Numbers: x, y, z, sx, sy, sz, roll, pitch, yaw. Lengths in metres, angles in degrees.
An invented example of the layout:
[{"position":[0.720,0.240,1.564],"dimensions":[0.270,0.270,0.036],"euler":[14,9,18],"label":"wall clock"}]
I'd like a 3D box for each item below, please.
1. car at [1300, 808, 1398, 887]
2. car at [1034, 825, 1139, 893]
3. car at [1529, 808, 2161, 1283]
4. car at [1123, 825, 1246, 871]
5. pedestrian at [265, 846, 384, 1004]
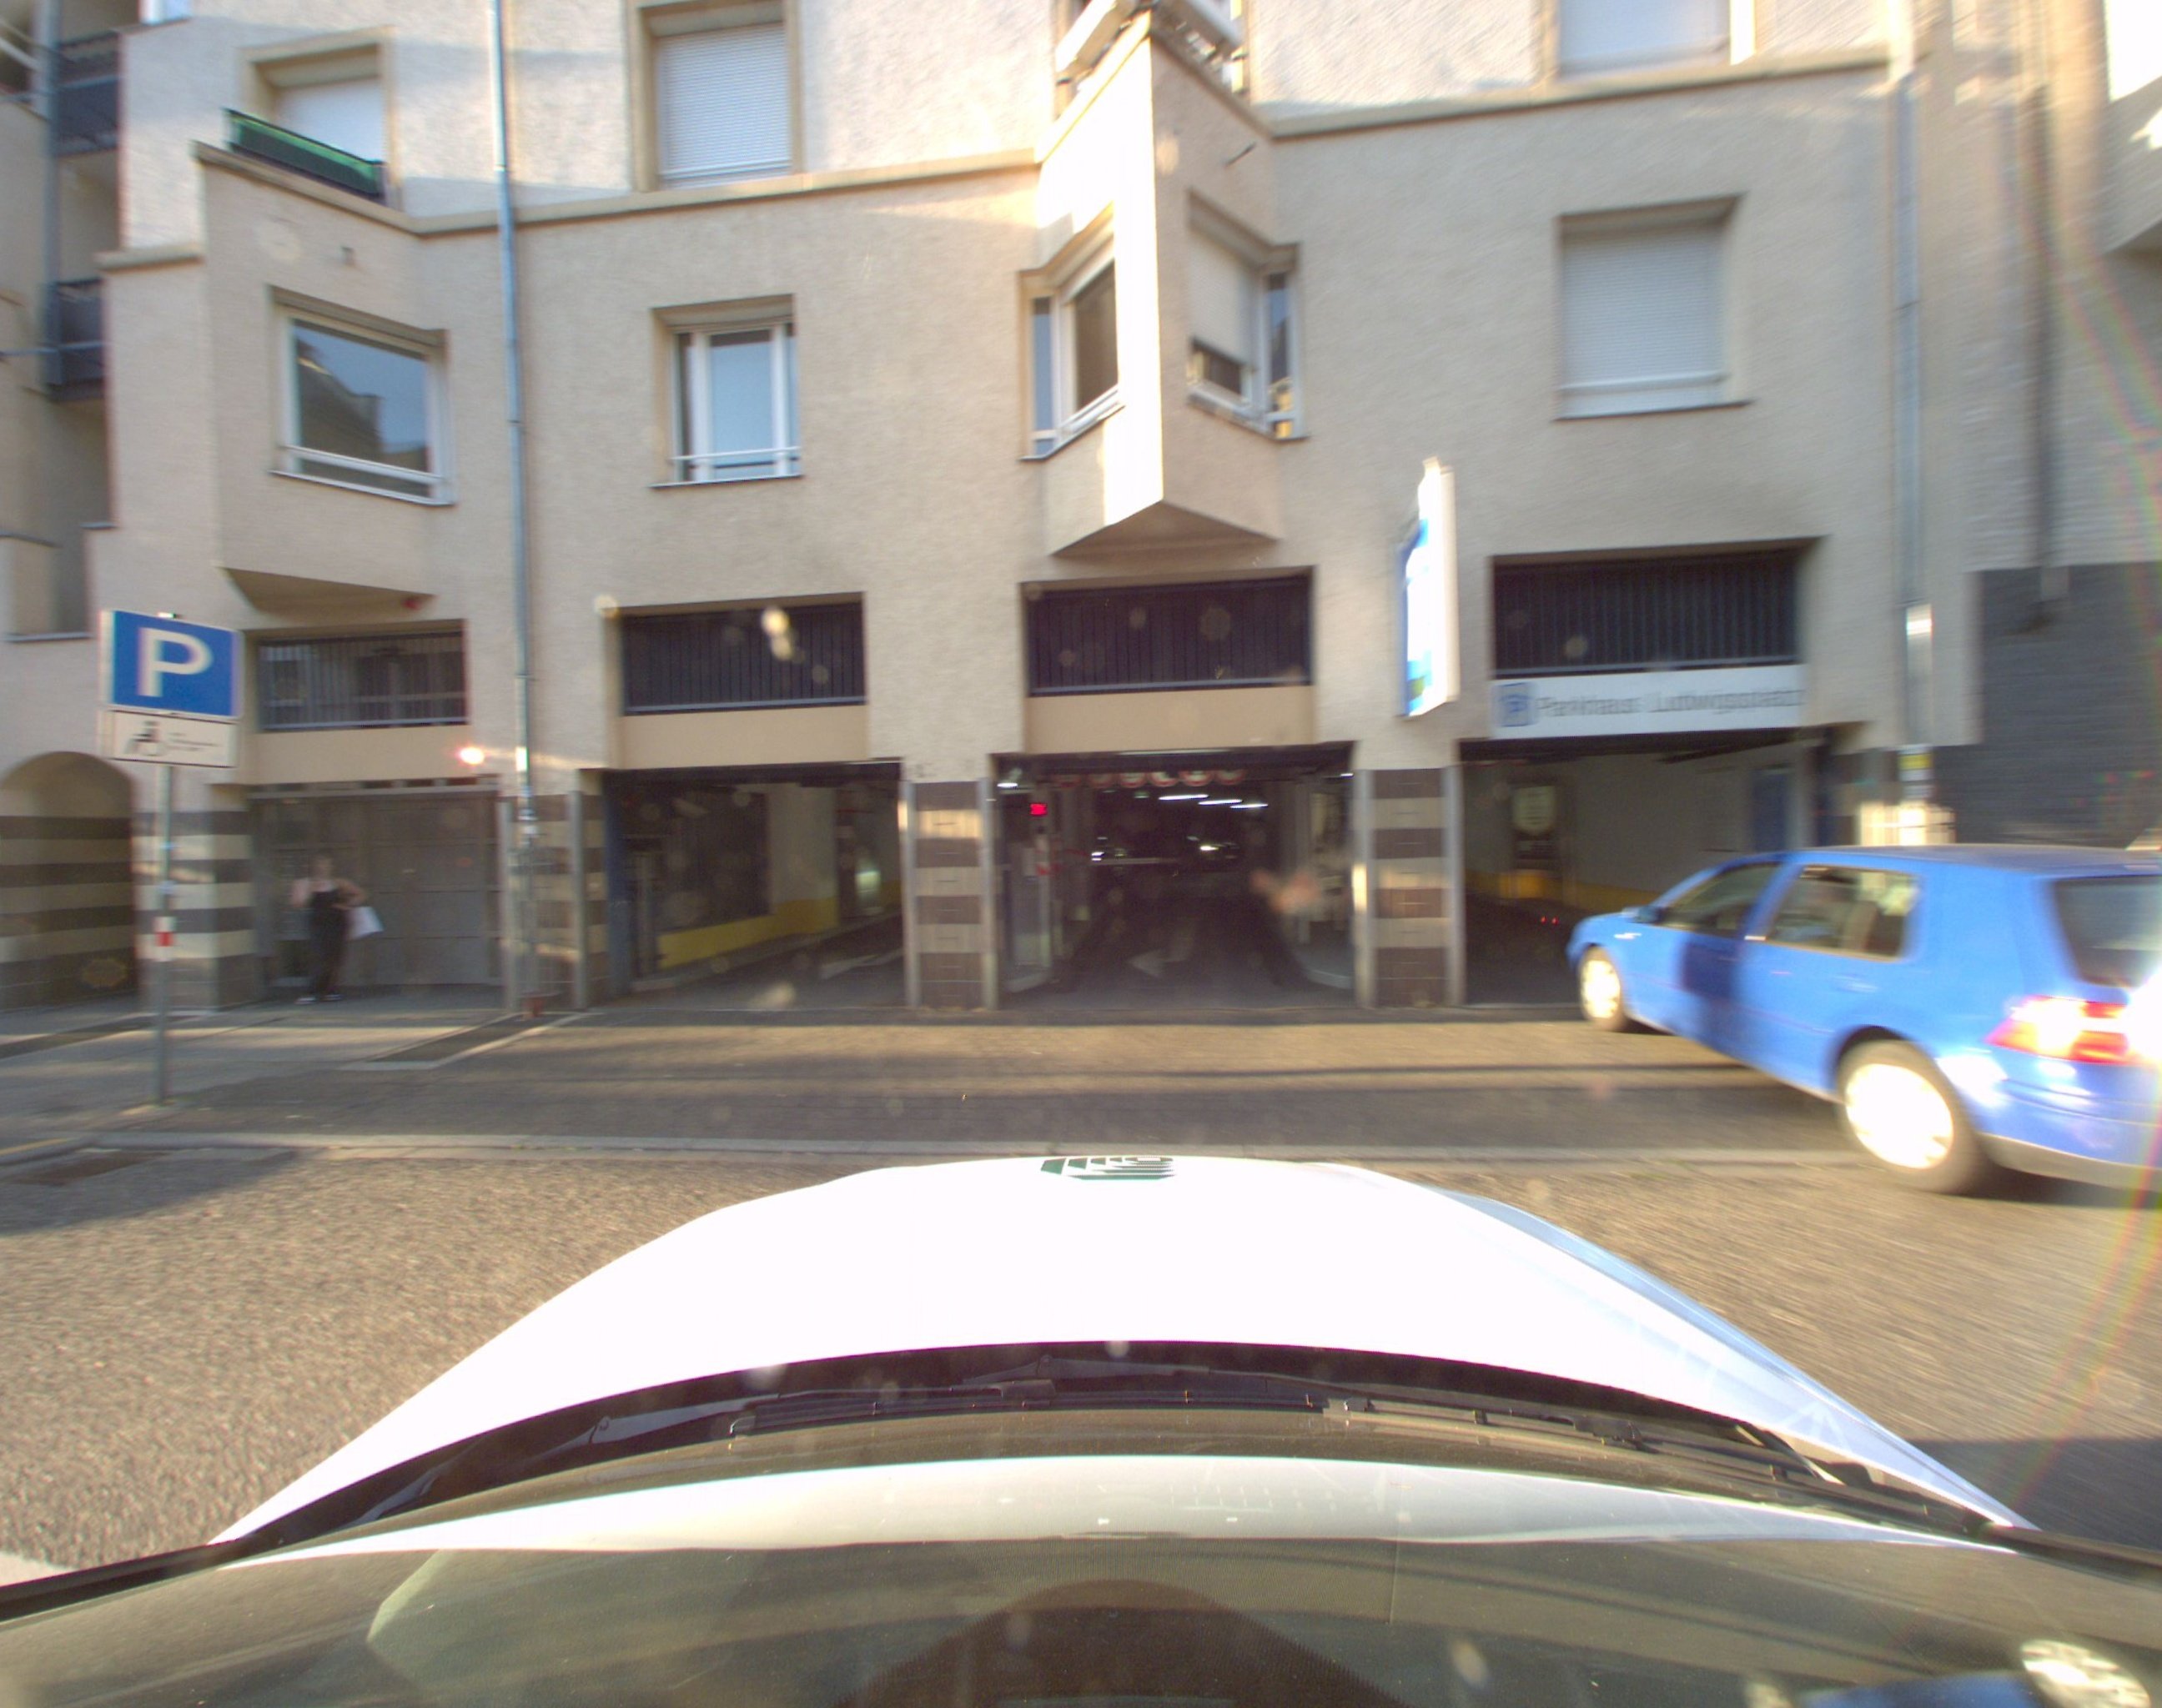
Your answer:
[{"position":[6.126,-0.213,18.977],"dimensions":[1.546,1.617,3.891],"euler":[-2,2,9],"label":"car"},{"position":[0.273,0.057,21.711],"dimensions":[1.800,1.572,4.267],"euler":[-2,2,13],"label":"car"},{"position":[4.345,0.540,4.709],"dimensions":[1.679,1.562,4.128],"euler":[-1,3,7],"label":"car"},{"position":[3.887,-0.241,30.913],"dimensions":[4.245,1.624,1.903],"euler":[0,1,41],"label":"car"},{"position":[-8.007,0.712,8.634],"dimensions":[0.527,1.572,0.783],"euler":[-1,1,34],"label":"pedestrian"}]
